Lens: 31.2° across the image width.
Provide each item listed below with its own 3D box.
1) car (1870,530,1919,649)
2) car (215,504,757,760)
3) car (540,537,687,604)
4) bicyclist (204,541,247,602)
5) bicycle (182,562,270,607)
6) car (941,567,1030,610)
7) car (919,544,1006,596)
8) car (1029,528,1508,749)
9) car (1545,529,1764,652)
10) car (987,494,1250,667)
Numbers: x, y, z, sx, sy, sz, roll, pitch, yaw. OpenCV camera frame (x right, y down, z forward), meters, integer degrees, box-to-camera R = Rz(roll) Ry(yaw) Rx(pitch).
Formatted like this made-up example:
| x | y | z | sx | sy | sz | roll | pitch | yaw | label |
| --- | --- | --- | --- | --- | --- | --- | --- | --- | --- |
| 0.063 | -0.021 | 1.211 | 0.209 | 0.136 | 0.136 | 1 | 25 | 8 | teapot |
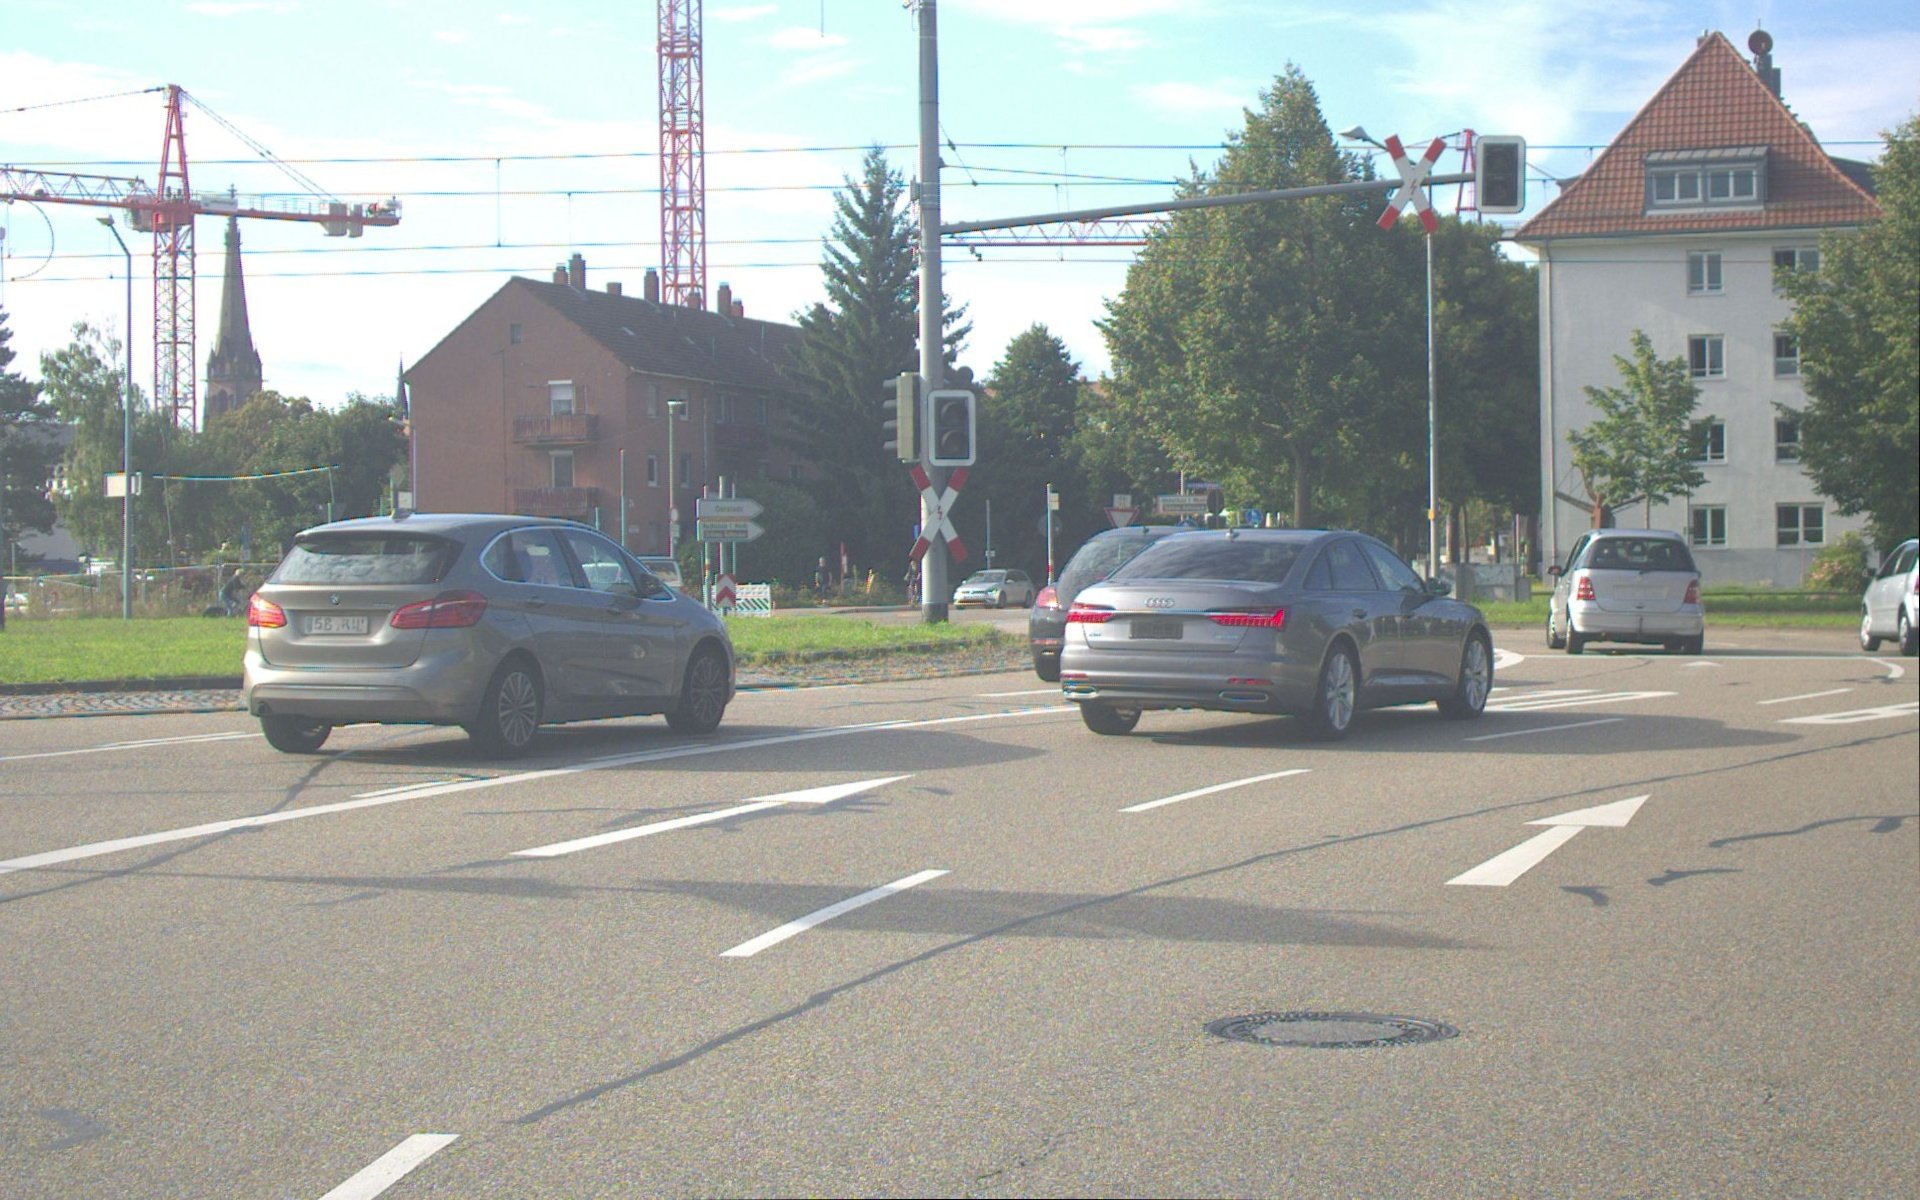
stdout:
| x | y | z | sx | sy | sz | roll | pitch | yaw | label |
| --- | --- | --- | --- | --- | --- | --- | --- | --- | --- |
| 12.561 | -0.133 | 43.198 | 1.851 | 1.421 | 4.453 | 1 | 0 | 11 | car |
| -3.080 | 0.177 | 23.193 | 1.770 | 1.567 | 4.062 | 1 | 0 | 23 | car |
| -10.038 | -0.856 | 100.001 | 1.899 | 1.896 | 4.653 | 1 | 0 | 30 | car |
| -19.406 | -0.759 | 90.880 | 0.957 | 1.569 | 0.772 | -2 | 1 | -2 | bicyclist |
| -19.389 | -0.416 | 90.884 | 2.143 | 1.133 | 0.772 | -2 | 1 | -2 | bicycle |
| 0.970 | -0.437 | 126.125 | 1.897 | 1.538 | 4.656 | 1 | 0 | 19 | car |
| 0.123 | -1.128 | 130.391 | 1.897 | 1.896 | 4.656 | 1 | 0 | 19 | car |
| 2.356 | 0.217 | 24.950 | 1.853 | 1.440 | 4.708 | 1 | 1 | 27 | car |
| 8.852 | -0.128 | 43.553 | 1.853 | 1.473 | 4.449 | 1 | 0 | 23 | car |
| 1.612 | -0.179 | 33.530 | 1.994 | 1.536 | 3.998 | 2 | 0 | 11 | car |
